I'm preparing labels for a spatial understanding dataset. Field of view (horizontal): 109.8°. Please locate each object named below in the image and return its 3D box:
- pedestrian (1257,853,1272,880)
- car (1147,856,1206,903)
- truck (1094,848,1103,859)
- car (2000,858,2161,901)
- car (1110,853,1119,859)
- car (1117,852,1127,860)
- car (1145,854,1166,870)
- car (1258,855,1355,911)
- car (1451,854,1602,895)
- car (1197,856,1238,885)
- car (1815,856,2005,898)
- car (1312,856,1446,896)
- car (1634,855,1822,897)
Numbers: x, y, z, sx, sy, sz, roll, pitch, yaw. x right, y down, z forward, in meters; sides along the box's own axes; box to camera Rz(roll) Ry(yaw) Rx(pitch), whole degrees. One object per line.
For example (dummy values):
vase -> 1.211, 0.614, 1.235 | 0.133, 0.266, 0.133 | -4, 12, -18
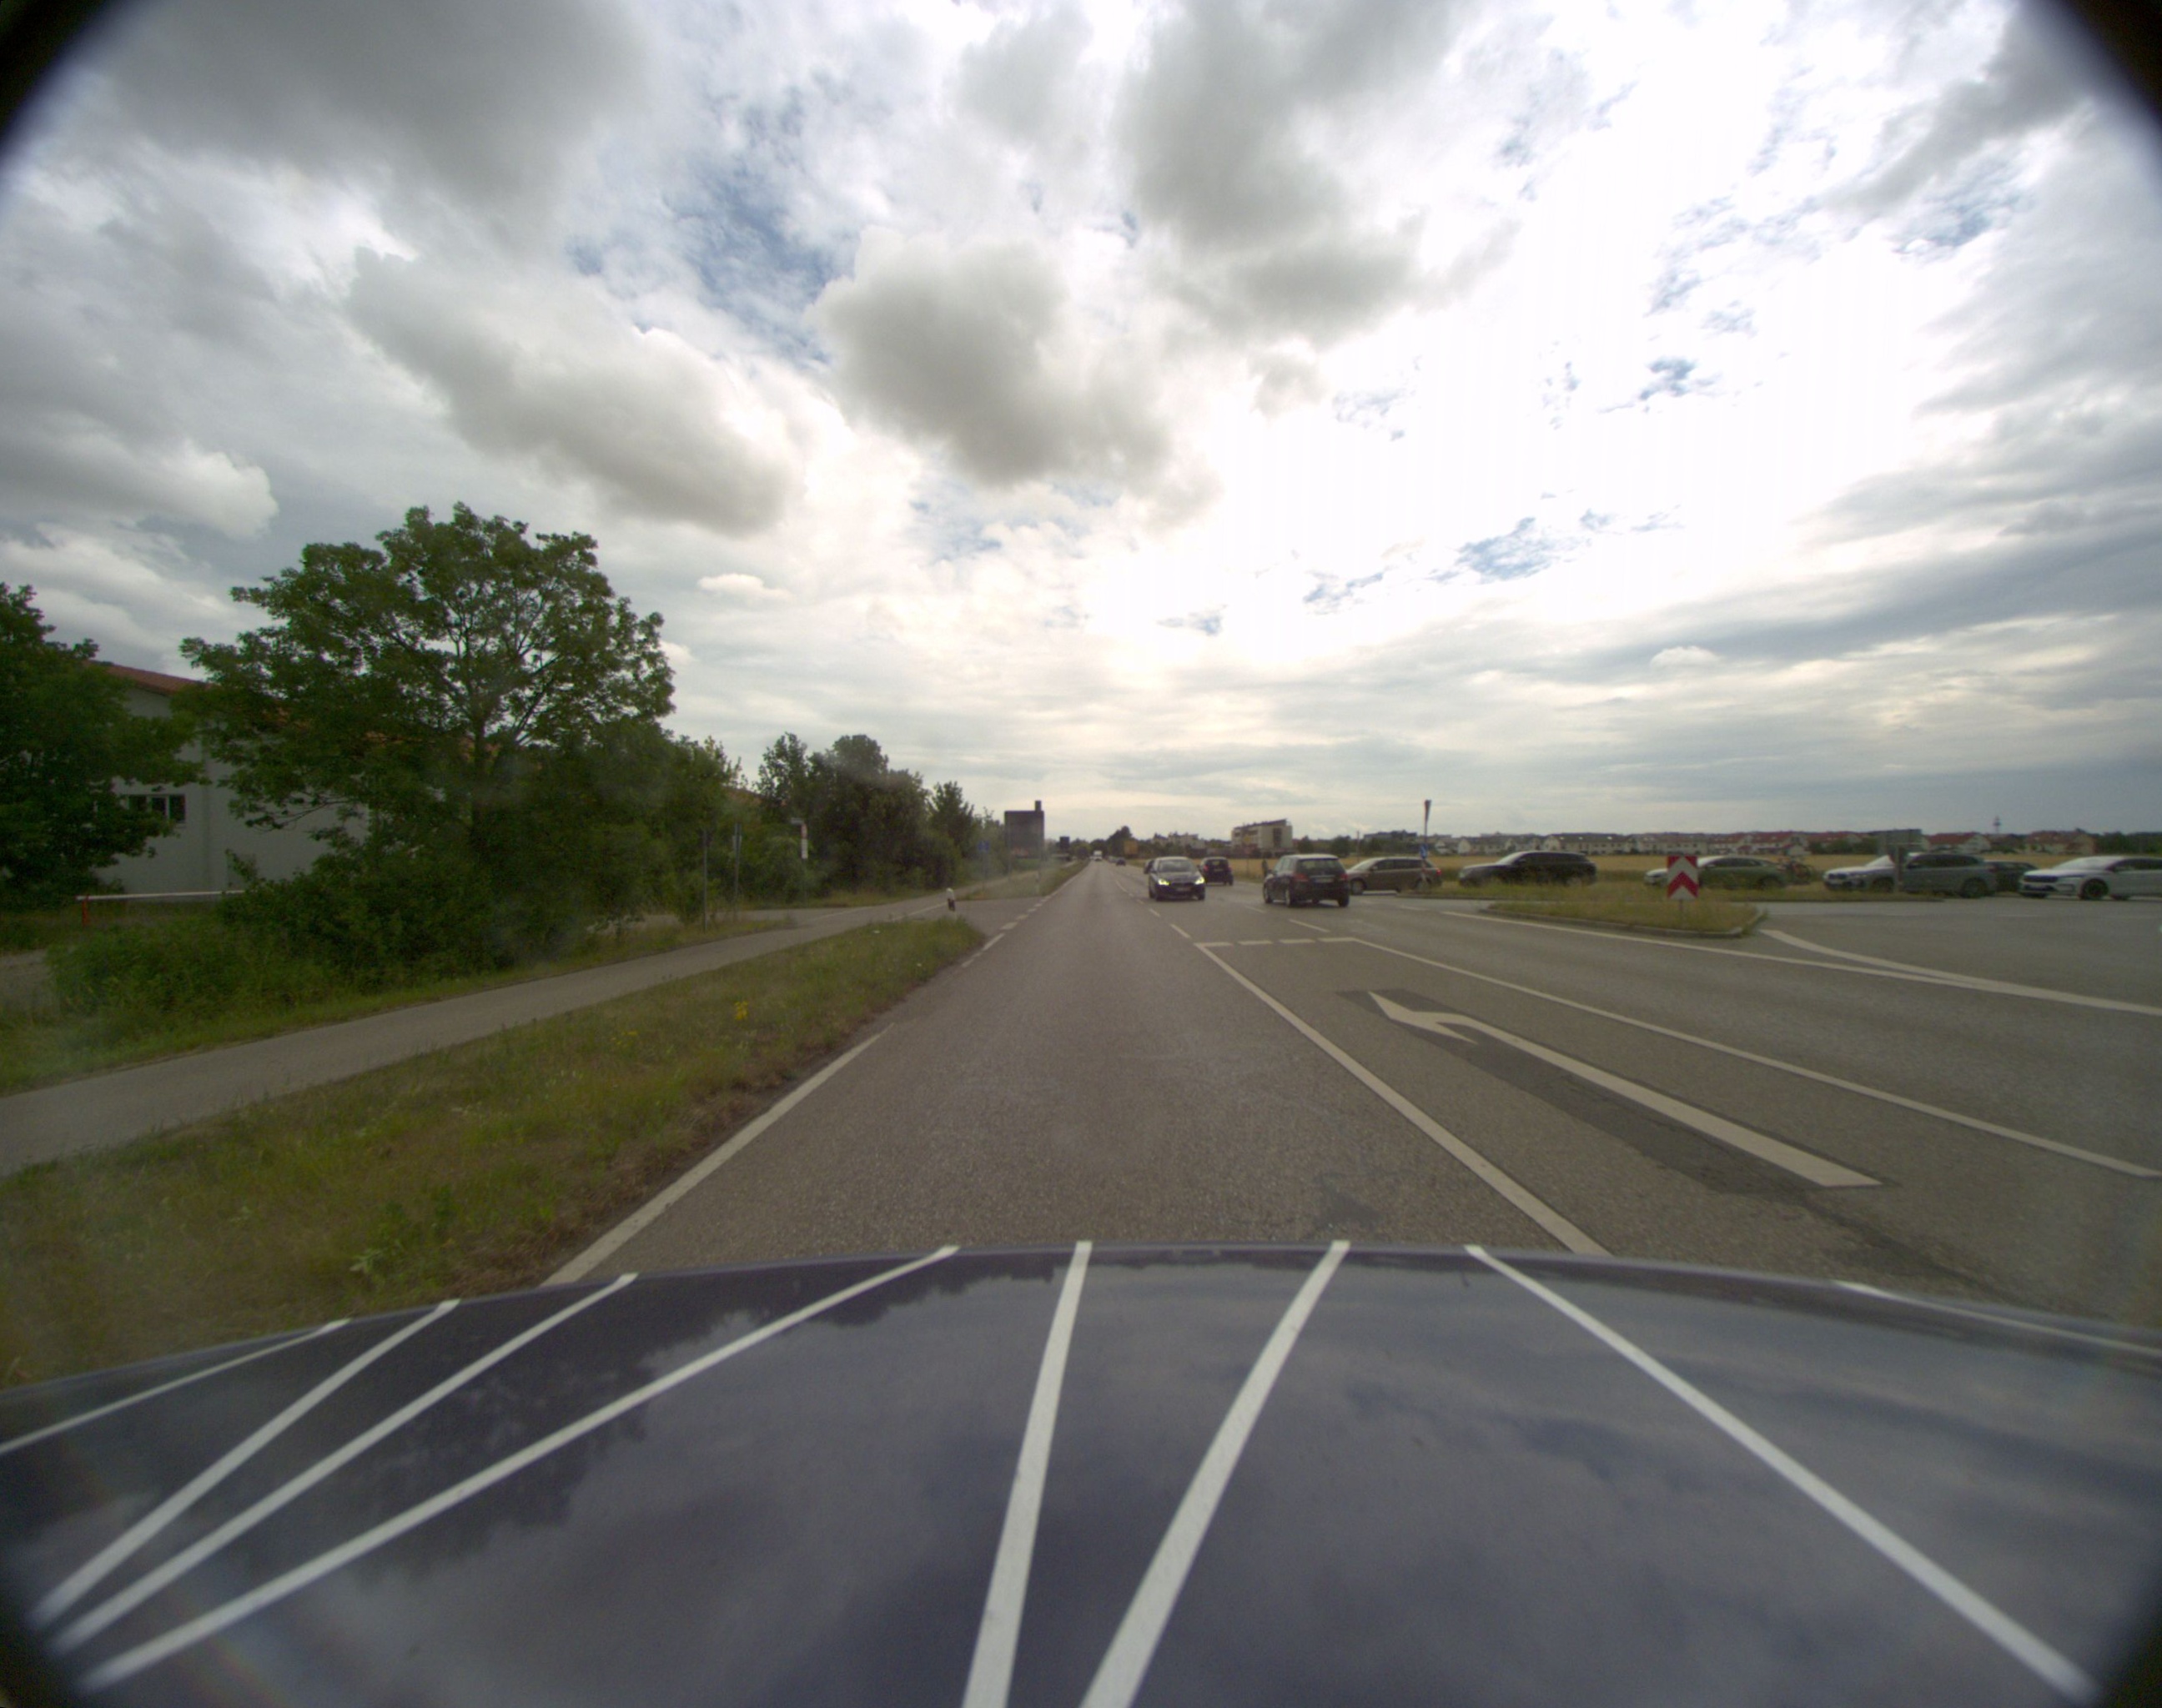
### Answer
pedestrian -> 11.035, 0.742, 45.743 | 0.594, 1.596, 0.866 | 2, 1, -1
car -> 3.608, 0.908, 29.433 | 1.706, 1.602, 4.482 | -2, 0, 1
truck -> 5.653, -0.162, 241.796 | 2.813, 3.588, 11.220 | -1, 0, 2
car -> 36.797, 0.900, 27.458 | 4.499, 1.473, 1.912 | -1, 0, 7
car -> 8.262, 0.549, 188.325 | 1.856, 1.480, 4.263 | 0, 0, -1
car -> 7.599, 0.439, 140.818 | 1.740, 1.450, 4.131 | -1, 0, 0
car -> 7.438, 0.745, 76.327 | 1.683, 1.512, 4.396 | -2, 0, 1
car -> 6.826, 0.819, 23.465 | 1.746, 1.521, 4.199 | -2, 0, 0
car -> 17.328, 0.779, 29.764 | 4.748, 1.523, 1.912 | -1, 0, 7
car -> 7.511, 0.879, 42.034 | 1.665, 1.475, 3.168 | -2, 0, 0
car -> 30.782, 0.845, 28.354 | 4.632, 1.508, 1.912 | -1, 0, 7
car -> 11.475, 0.816, 29.407 | 4.464, 1.416, 1.910 | -1, 0, -7
car -> 24.566, 0.811, 29.044 | 5.295, 1.512, 1.912 | -1, 0, 7
